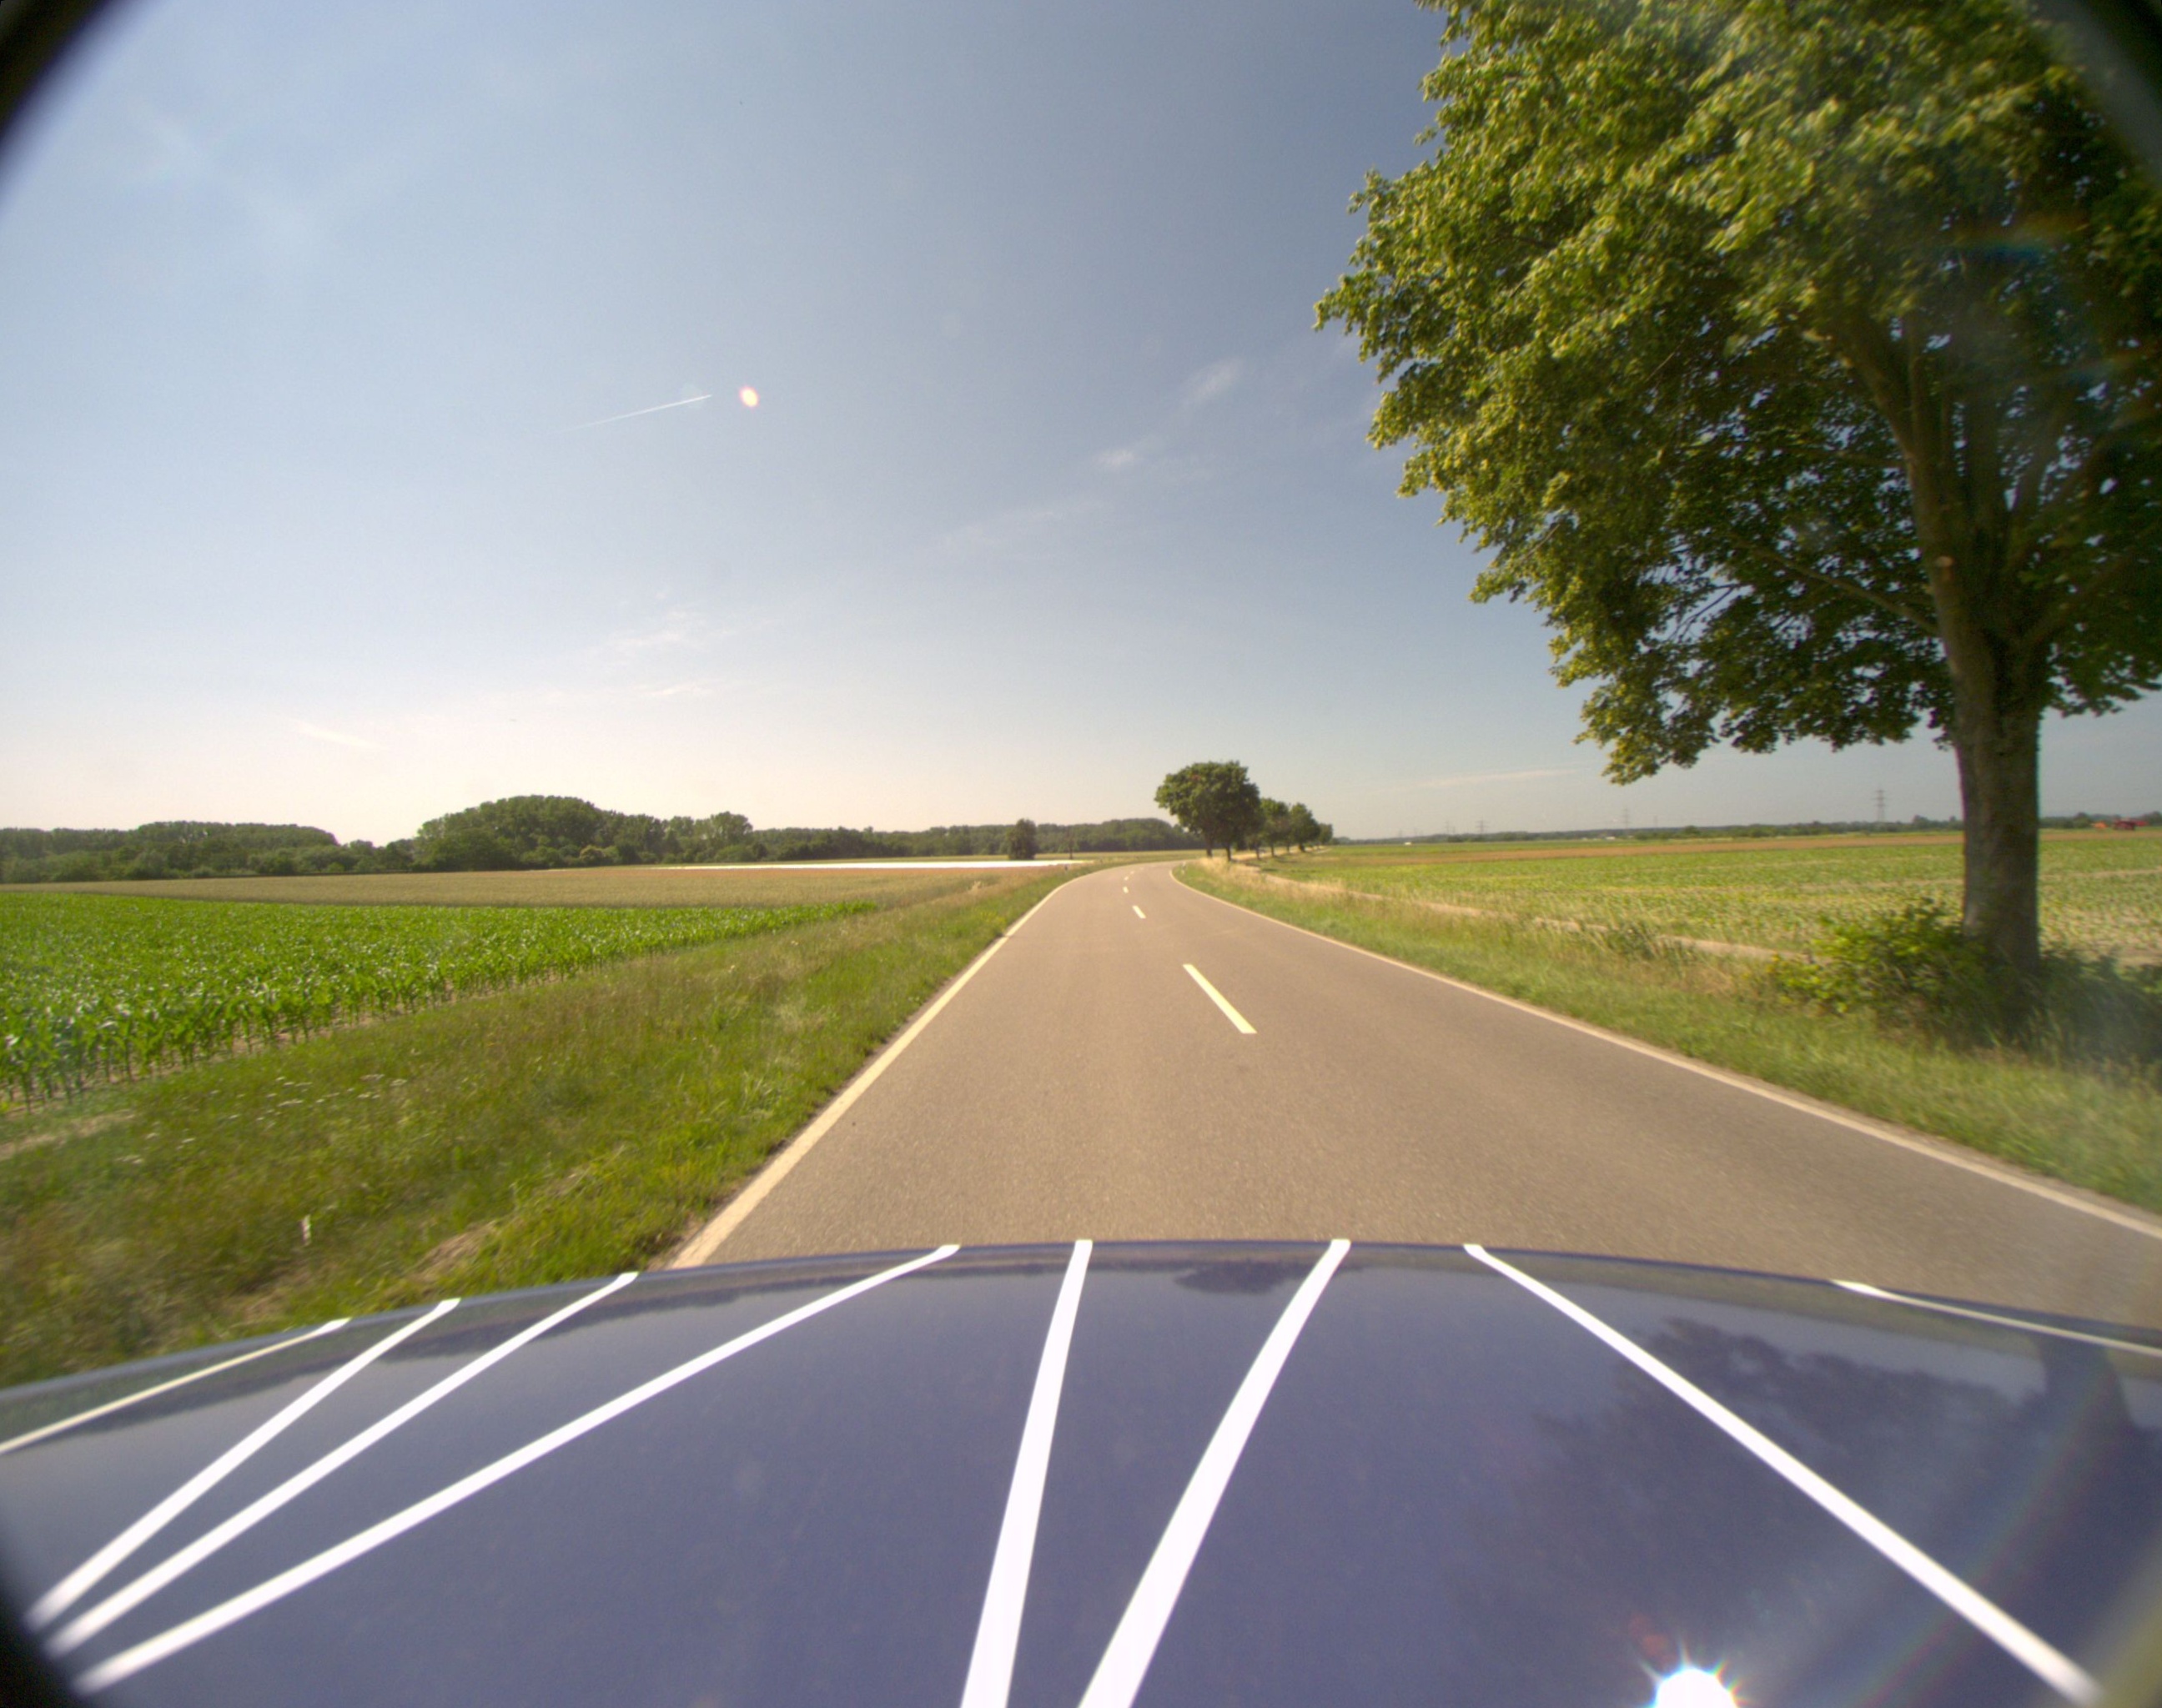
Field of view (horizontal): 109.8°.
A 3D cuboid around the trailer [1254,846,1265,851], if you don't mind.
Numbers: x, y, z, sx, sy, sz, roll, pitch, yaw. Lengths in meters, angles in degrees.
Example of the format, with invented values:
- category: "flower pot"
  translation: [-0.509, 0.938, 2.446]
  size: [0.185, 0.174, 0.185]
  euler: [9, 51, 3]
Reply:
- category: "trailer"
  translation: [39.793, -1.132, 169.366]
  size: [1.624, 1.059, 4.125]
  euler: [2, 1, 21]
